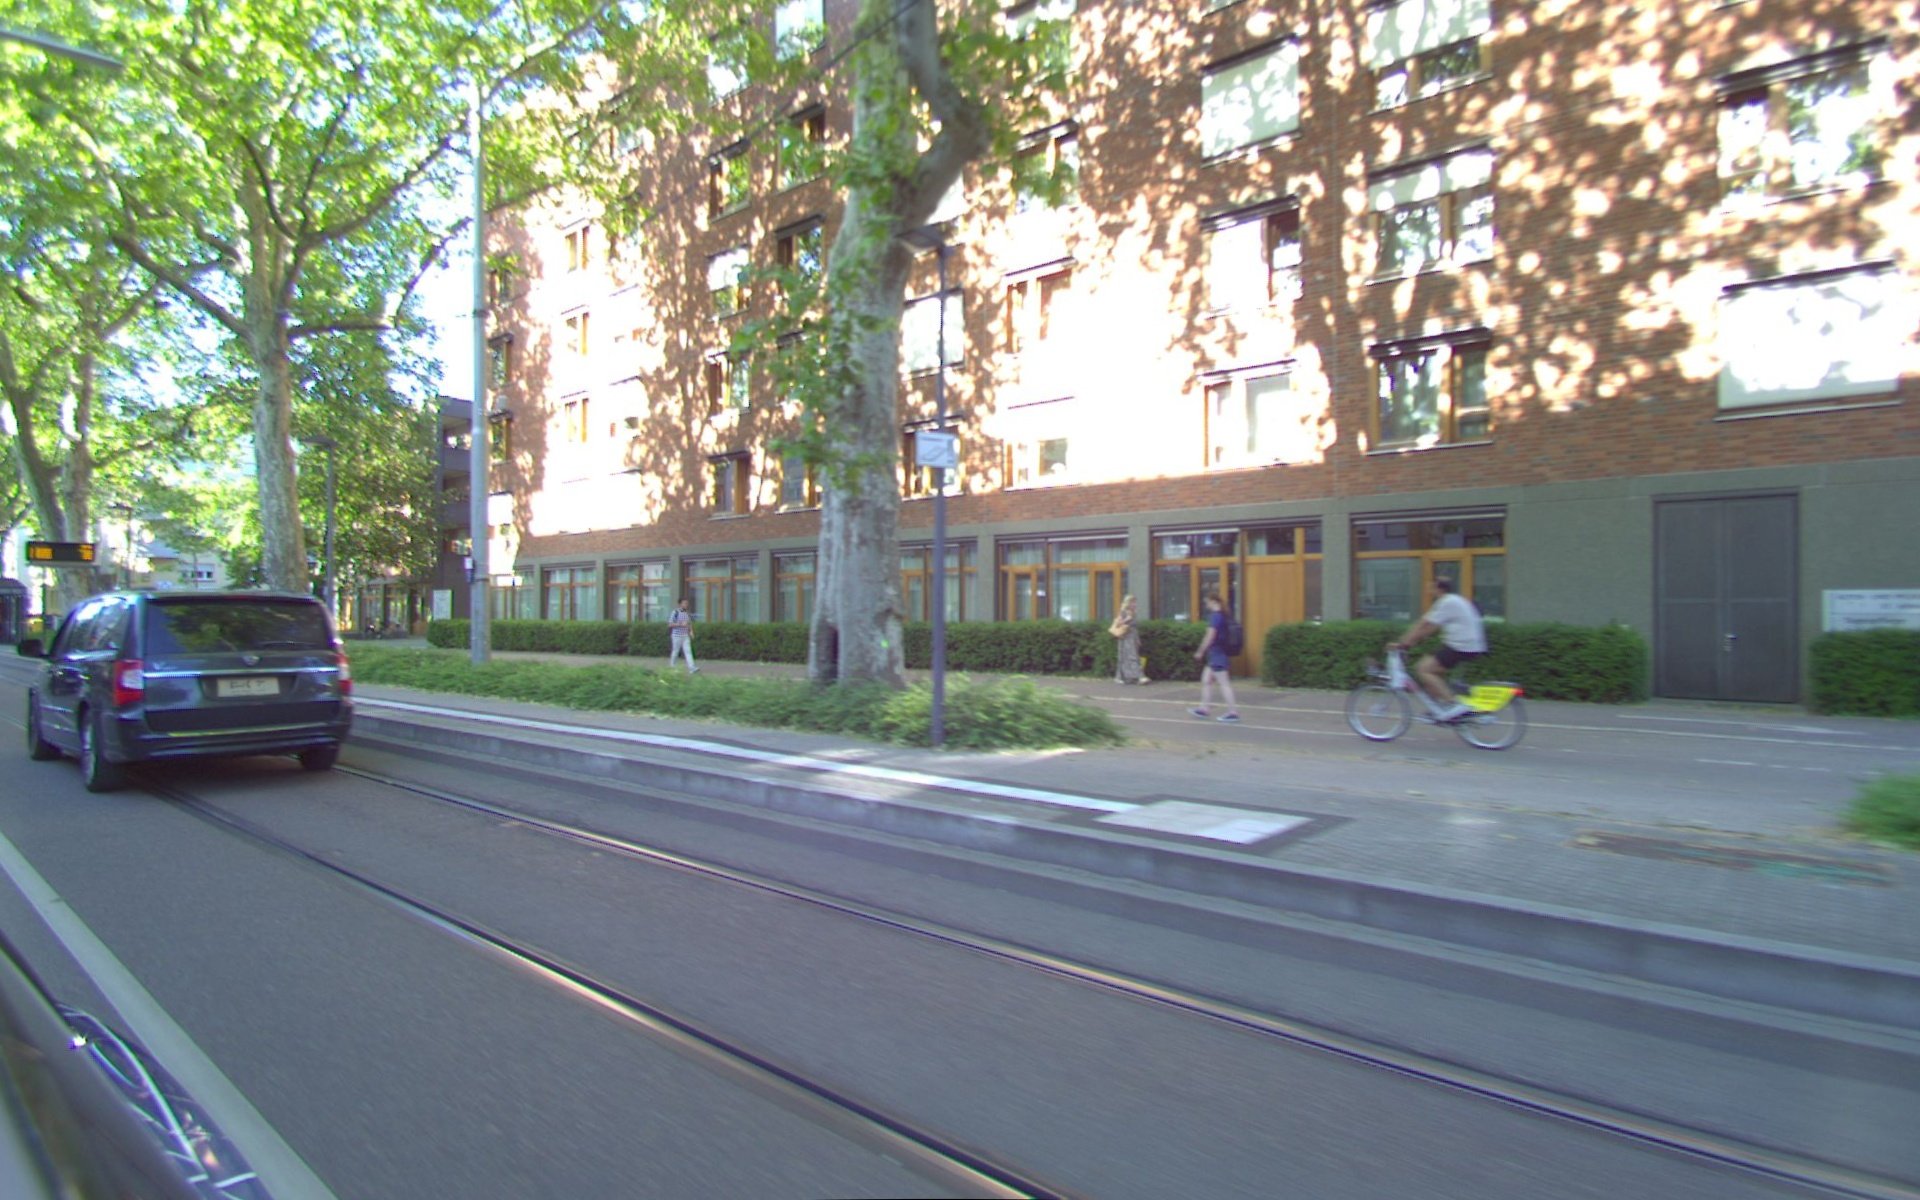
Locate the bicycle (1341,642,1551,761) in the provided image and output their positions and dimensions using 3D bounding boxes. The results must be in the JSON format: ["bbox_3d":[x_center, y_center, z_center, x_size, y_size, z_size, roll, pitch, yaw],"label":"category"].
[{"bbox_3d":[5.030,1.003,10.552,1.839,1.071,0.707,-1,0,42],"label":"bicycle"}]

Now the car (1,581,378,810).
[{"bbox_3d":[-7.863,0.740,10.098,5.140,1.729,1.973,-1,0,41],"label":"car"}]

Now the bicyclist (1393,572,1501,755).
[{"bbox_3d":[5.059,0.627,10.517,0.839,1.801,0.692,-1,0,42],"label":"bicyclist"}]

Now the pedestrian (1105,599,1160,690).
[{"bbox_3d":[3.093,0.774,18.130,0.715,1.585,0.657,-1,0,40],"label":"pedestrian"}]

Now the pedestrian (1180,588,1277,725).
[{"bbox_3d":[3.462,0.695,13.072,0.968,1.685,0.730,-1,0,42],"label":"pedestrian"}]

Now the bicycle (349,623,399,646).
[{"bbox_3d":[-29.077,1.698,50.229,2.012,1.102,0.821,-1,0,3],"label":"bicycle"}]

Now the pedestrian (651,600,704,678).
[{"bbox_3d":[-6.541,0.880,23.454,0.971,1.757,0.756,-1,0,41],"label":"pedestrian"}]
